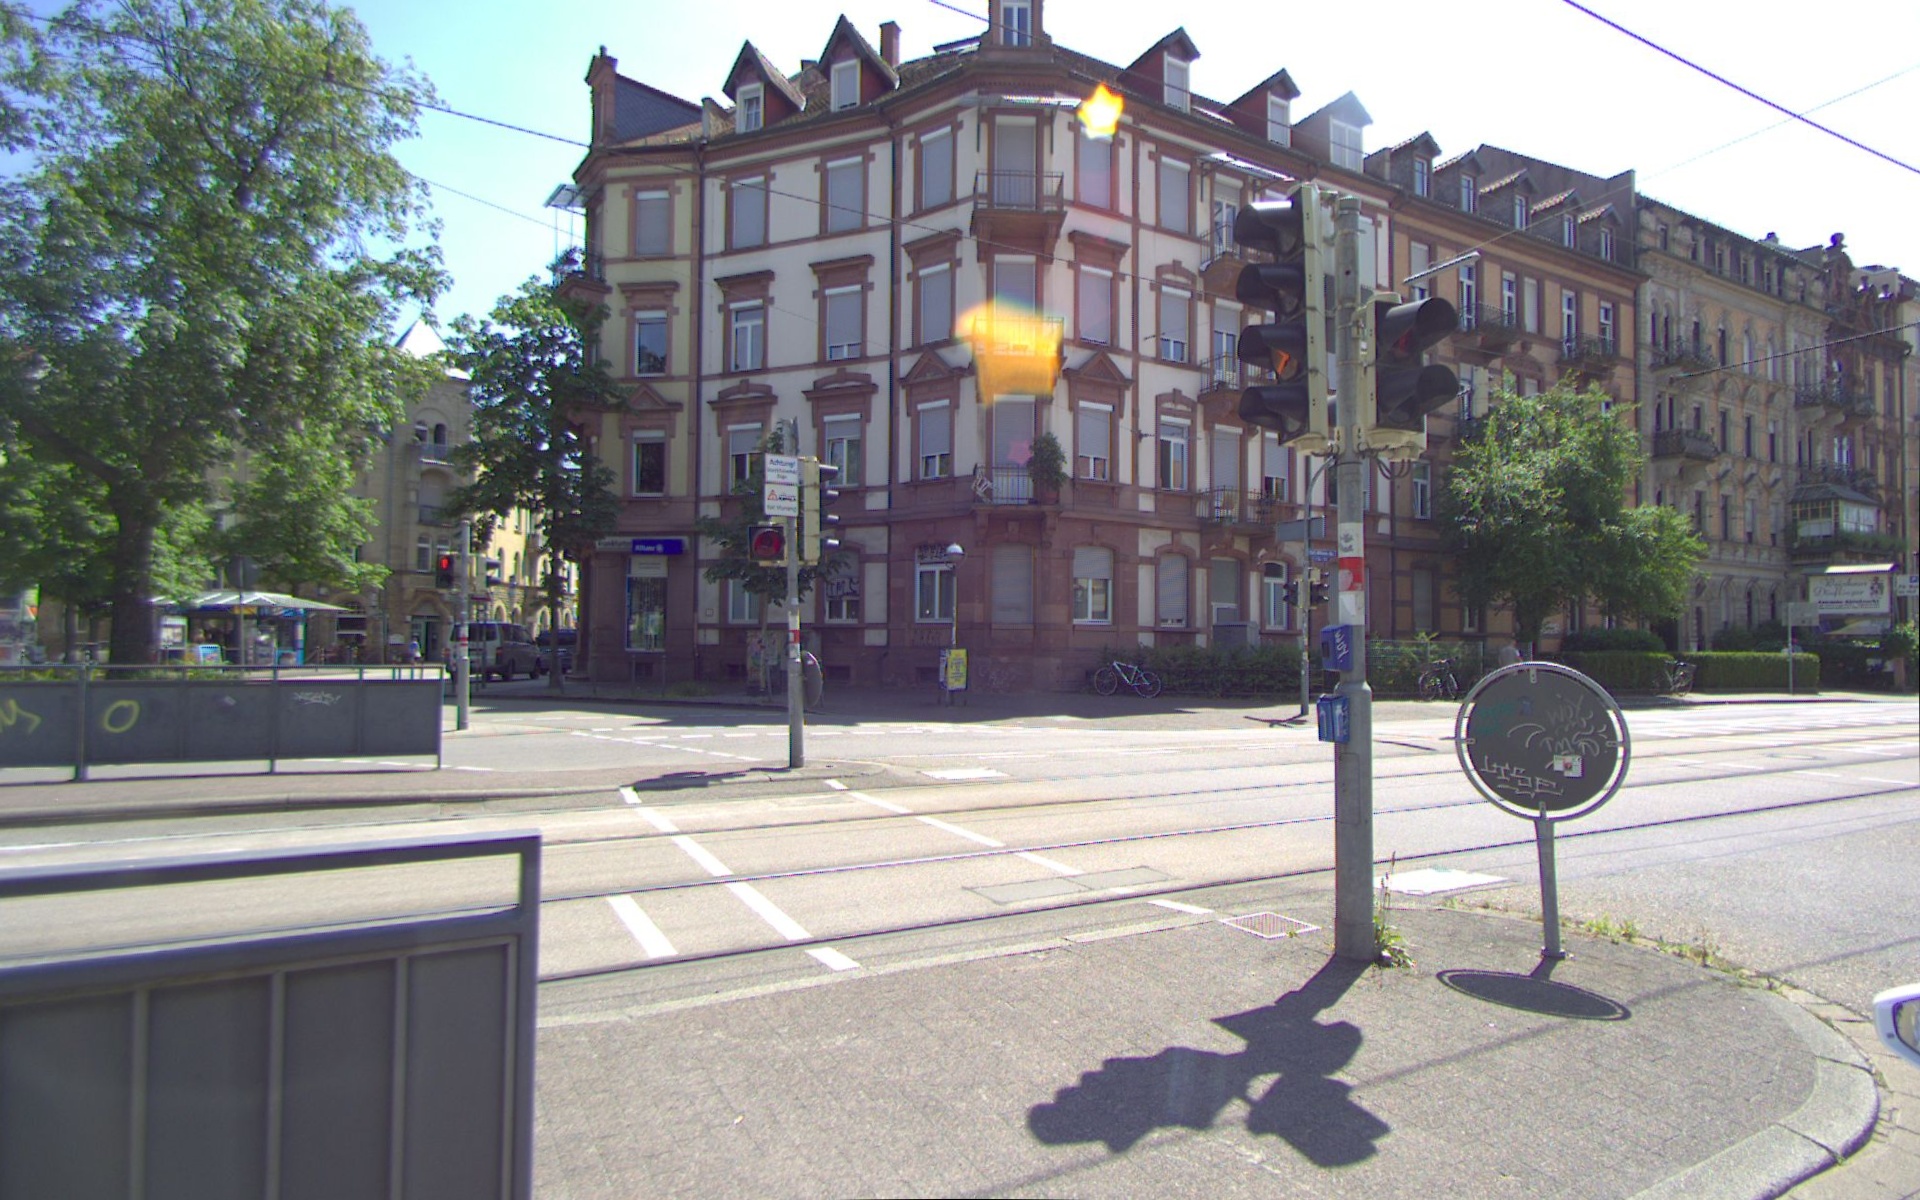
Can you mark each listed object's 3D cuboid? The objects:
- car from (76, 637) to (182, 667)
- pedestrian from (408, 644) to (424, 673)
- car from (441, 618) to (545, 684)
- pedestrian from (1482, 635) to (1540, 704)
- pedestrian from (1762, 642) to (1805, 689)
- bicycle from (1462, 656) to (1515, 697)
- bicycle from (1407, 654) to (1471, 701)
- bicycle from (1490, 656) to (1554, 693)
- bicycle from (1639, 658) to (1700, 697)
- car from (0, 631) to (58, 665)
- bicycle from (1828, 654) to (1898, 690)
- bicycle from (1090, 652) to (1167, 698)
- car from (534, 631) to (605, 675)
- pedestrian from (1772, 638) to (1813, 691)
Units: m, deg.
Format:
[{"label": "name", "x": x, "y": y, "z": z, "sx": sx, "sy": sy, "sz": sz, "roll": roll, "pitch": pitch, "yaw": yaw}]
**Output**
[{"label": "car", "x": -43.907, "y": 2.752, "z": 53.127, "sx": 3.928, "sy": 1.520, "sz": 1.692, "roll": 1, "pitch": -2, "yaw": -10}, {"label": "pedestrian", "x": -30.290, "y": 3.256, "z": 55.949, "sx": 0.539, "sy": 1.577, "sz": 0.501, "roll": 0, "pitch": -2, "yaw": 16}, {"label": "car", "x": -15.853, "y": 1.725, "z": 34.355, "sx": 1.964, "sy": 2.094, "sz": 4.583, "roll": 1, "pitch": -3, "yaw": -9}, {"label": "pedestrian", "x": 14.176, "y": 1.783, "z": 25.875, "sx": 0.999, "sy": 1.722, "sz": 0.870, "roll": 1, "pitch": -2, "yaw": -23}, {"label": "pedestrian", "x": 30.891, "y": 2.446, "z": 37.697, "sx": 0.808, "sy": 1.722, "sz": 0.911, "roll": 1, "pitch": -2, "yaw": -2}, {"label": "bicycle", "x": 14.258, "y": 2.050, "z": 27.096, "sx": 1.544, "sy": 1.070, "sz": 0.458, "roll": 2, "pitch": -3, "yaw": -26}, {"label": "bicycle", "x": 12.412, "y": 2.003, "z": 26.035, "sx": 1.693, "sy": 1.184, "sz": 0.571, "roll": 2, "pitch": -3, "yaw": -26}, {"label": "bicycle", "x": 16.308, "y": 2.155, "z": 29.177, "sx": 0.489, "sy": 1.009, "sz": 1.641, "roll": 2, "pitch": -3, "yaw": -27}, {"label": "bicycle", "x": 21.200, "y": 2.306, "z": 30.020, "sx": 1.905, "sy": 1.108, "sz": 0.636, "roll": 2, "pitch": -1, "yaw": -26}, {"label": "car", "x": -50.091, "y": 2.503, "z": 52.495, "sx": 3.928, "sy": 1.720, "sz": 1.808, "roll": 1, "pitch": -2, "yaw": -10}, {"label": "bicycle", "x": 33.780, "y": 2.669, "z": 37.616, "sx": 0.562, "sy": 1.244, "sz": 1.861, "roll": 2, "pitch": -1, "yaw": -31}, {"label": "bicycle", "x": 4.248, "y": 1.880, "z": 25.355, "sx": 1.885, "sy": 1.122, "sz": 0.467, "roll": 0, "pitch": -2, "yaw": 10}, {"label": "car", "x": -17.152, "y": 2.313, "z": 44.353, "sx": 1.964, "sy": 1.833, "sz": 4.583, "roll": 1, "pitch": -3, "yaw": -9}, {"label": "pedestrian", "x": 30.326, "y": 2.334, "z": 36.590, "sx": 0.800, "sy": 1.881, "sz": 0.879, "roll": 0, "pitch": -2, "yaw": 13}]
